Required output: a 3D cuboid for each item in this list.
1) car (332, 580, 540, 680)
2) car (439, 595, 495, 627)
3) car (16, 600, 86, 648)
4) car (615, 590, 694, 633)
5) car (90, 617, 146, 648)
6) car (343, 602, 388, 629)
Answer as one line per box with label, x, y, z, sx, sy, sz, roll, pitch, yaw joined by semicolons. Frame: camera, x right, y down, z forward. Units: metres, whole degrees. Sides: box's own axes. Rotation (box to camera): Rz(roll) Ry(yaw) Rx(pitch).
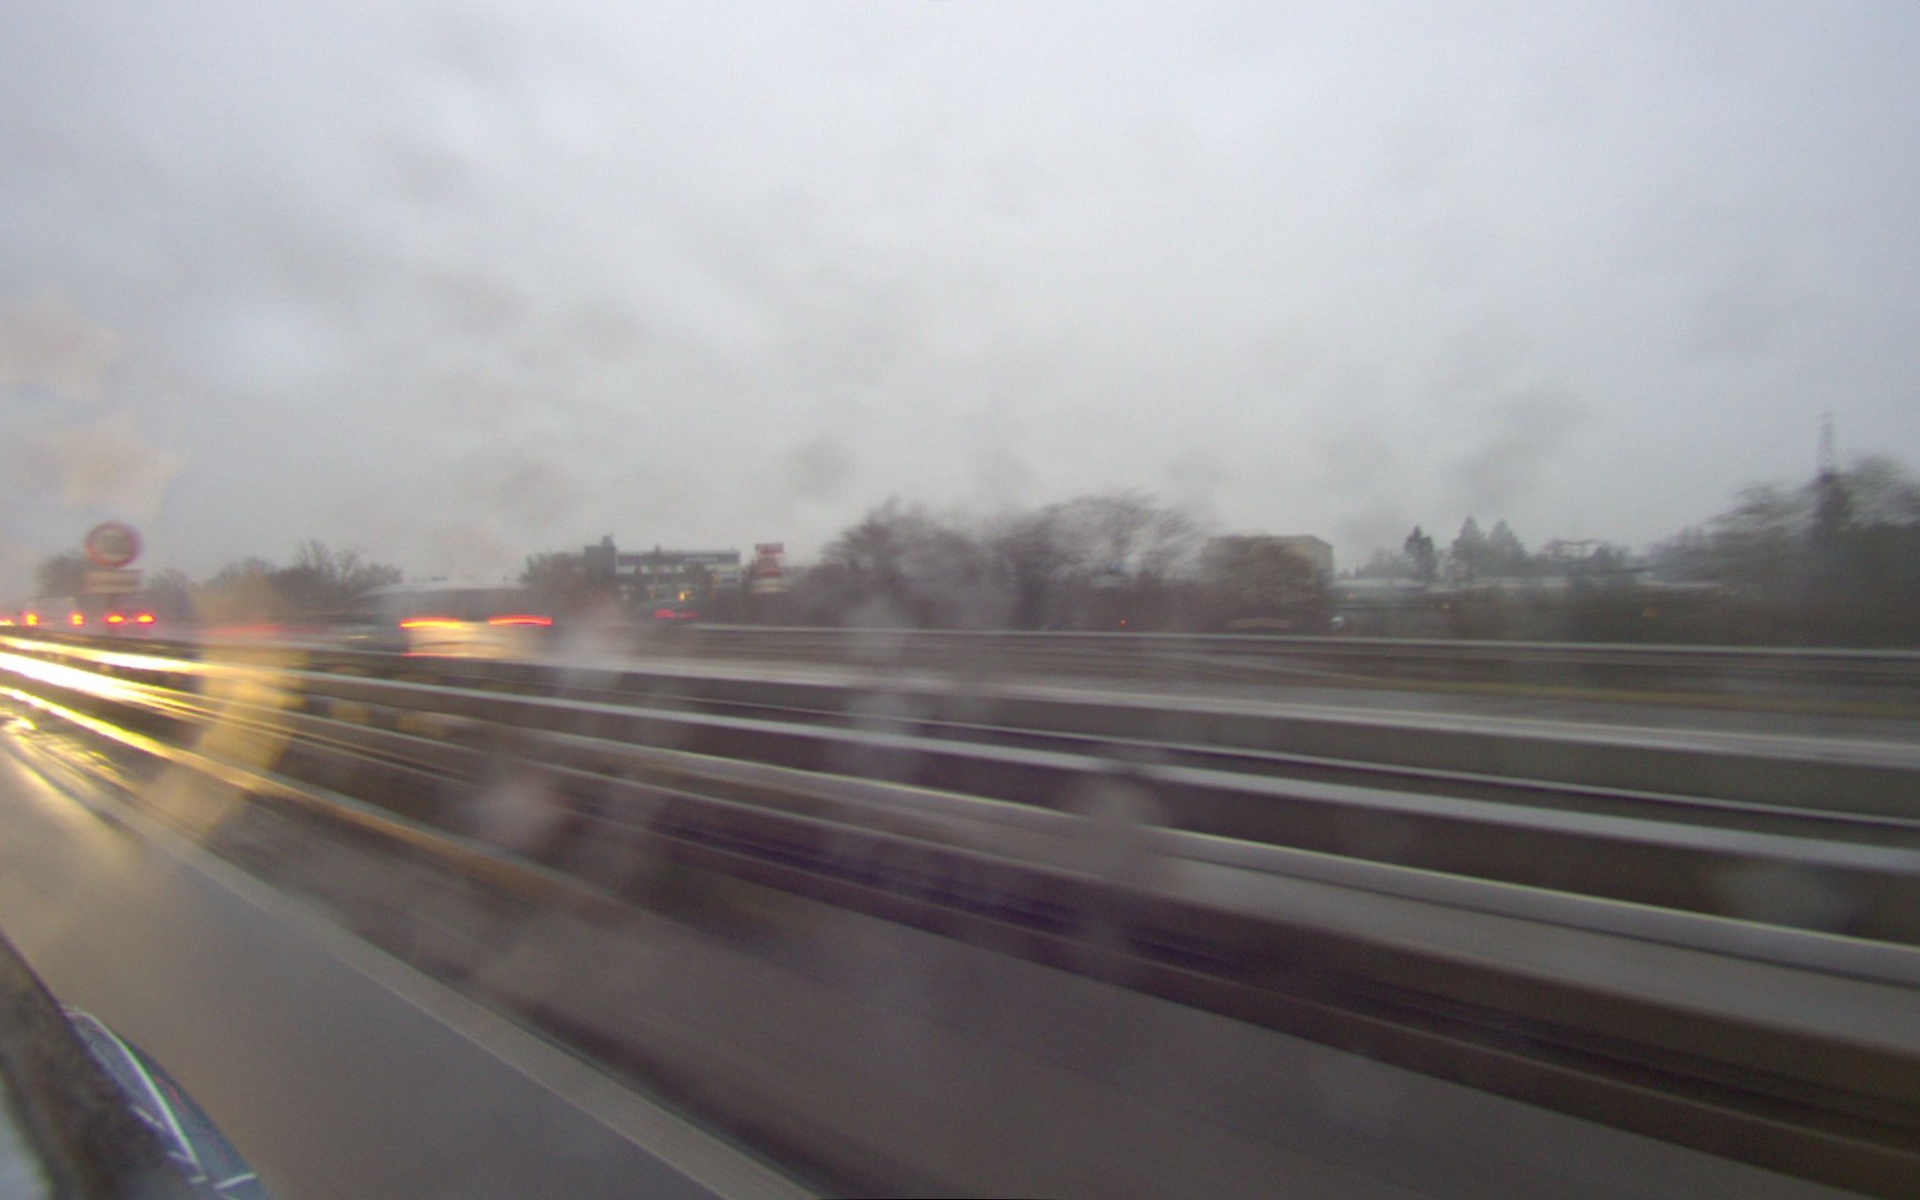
car;-9.397;0.537;18.018;4.135;1.563;1.972;-2;-2;42
car;-32.386;0.720;66.450;3.999;2.029;1.972;-1;1;42
car;-43.029;1.169;47.883;5.198;2.152;1.972;-2;-2;42
car;-15.340;0.577;50.808;3.998;2.029;1.973;-1;0;41
car;-47.245;1.830;56.782;4.543;1.649;1.816;-2;-2;42
car;-46.672;1.254;79.451;3.999;2.029;1.972;-2;-2;42
